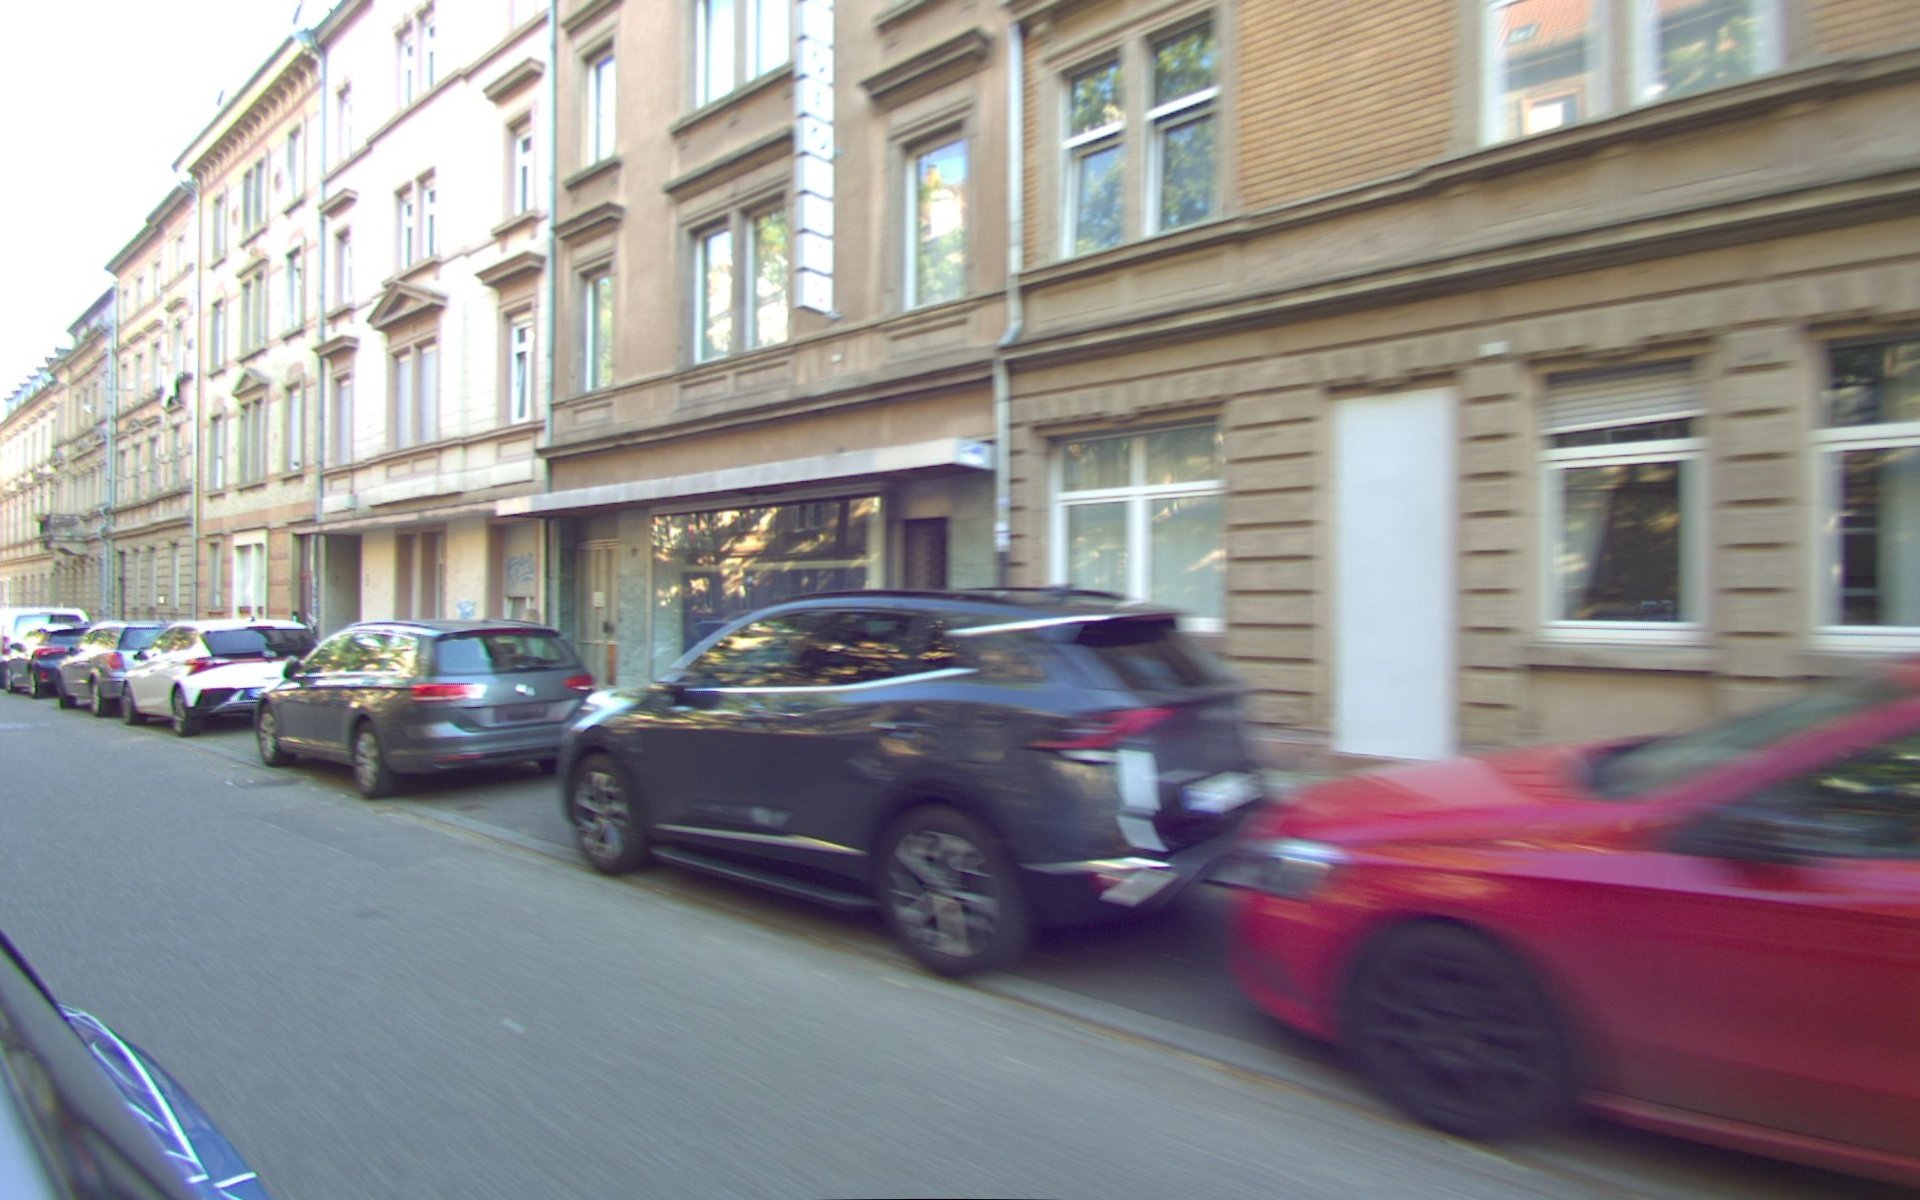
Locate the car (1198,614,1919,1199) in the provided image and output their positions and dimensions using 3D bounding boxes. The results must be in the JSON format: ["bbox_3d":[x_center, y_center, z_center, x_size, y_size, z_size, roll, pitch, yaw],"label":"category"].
[{"bbox_3d":[3.025,0.774,2.673,4.310,1.436,1.803,-1,0,40],"label":"car"}]

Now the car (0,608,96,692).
[{"bbox_3d":[-22.594,1.148,24.461,4.602,1.847,1.824,-1,-1,39],"label":"car"}]

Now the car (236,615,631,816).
[{"bbox_3d":[-5.177,0.904,9.668,4.486,1.483,1.843,-1,-2,41],"label":"car"}]

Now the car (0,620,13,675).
[{"bbox_3d":[-31.095,1.495,31.614,4.154,1.670,1.749,-1,-1,40],"label":"car"}]

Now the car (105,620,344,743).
[{"bbox_3d":[-10.429,1.035,14.254,4.084,1.483,1.739,-1,-2,39],"label":"car"}]

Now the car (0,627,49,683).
[{"bbox_3d":[-26.214,1.467,27.458,3.820,1.432,1.621,-1,-1,39],"label":"car"}]

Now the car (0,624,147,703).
[{"bbox_3d":[-18.609,1.255,21.129,4.240,1.484,1.729,-1,-2,40],"label":"car"}]

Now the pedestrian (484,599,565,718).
[{"bbox_3d":[-6.301,0.827,14.633,1.017,1.643,0.688,-1,-2,39],"label":"pedestrian"}]

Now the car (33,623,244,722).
[{"bbox_3d":[-14.030,1.134,17.203,4.537,1.455,1.868,-1,-1,39],"label":"car"}]

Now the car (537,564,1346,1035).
[{"bbox_3d":[-0.380,0.709,5.557,4.310,1.612,1.803,-1,0,40],"label":"car"}]
